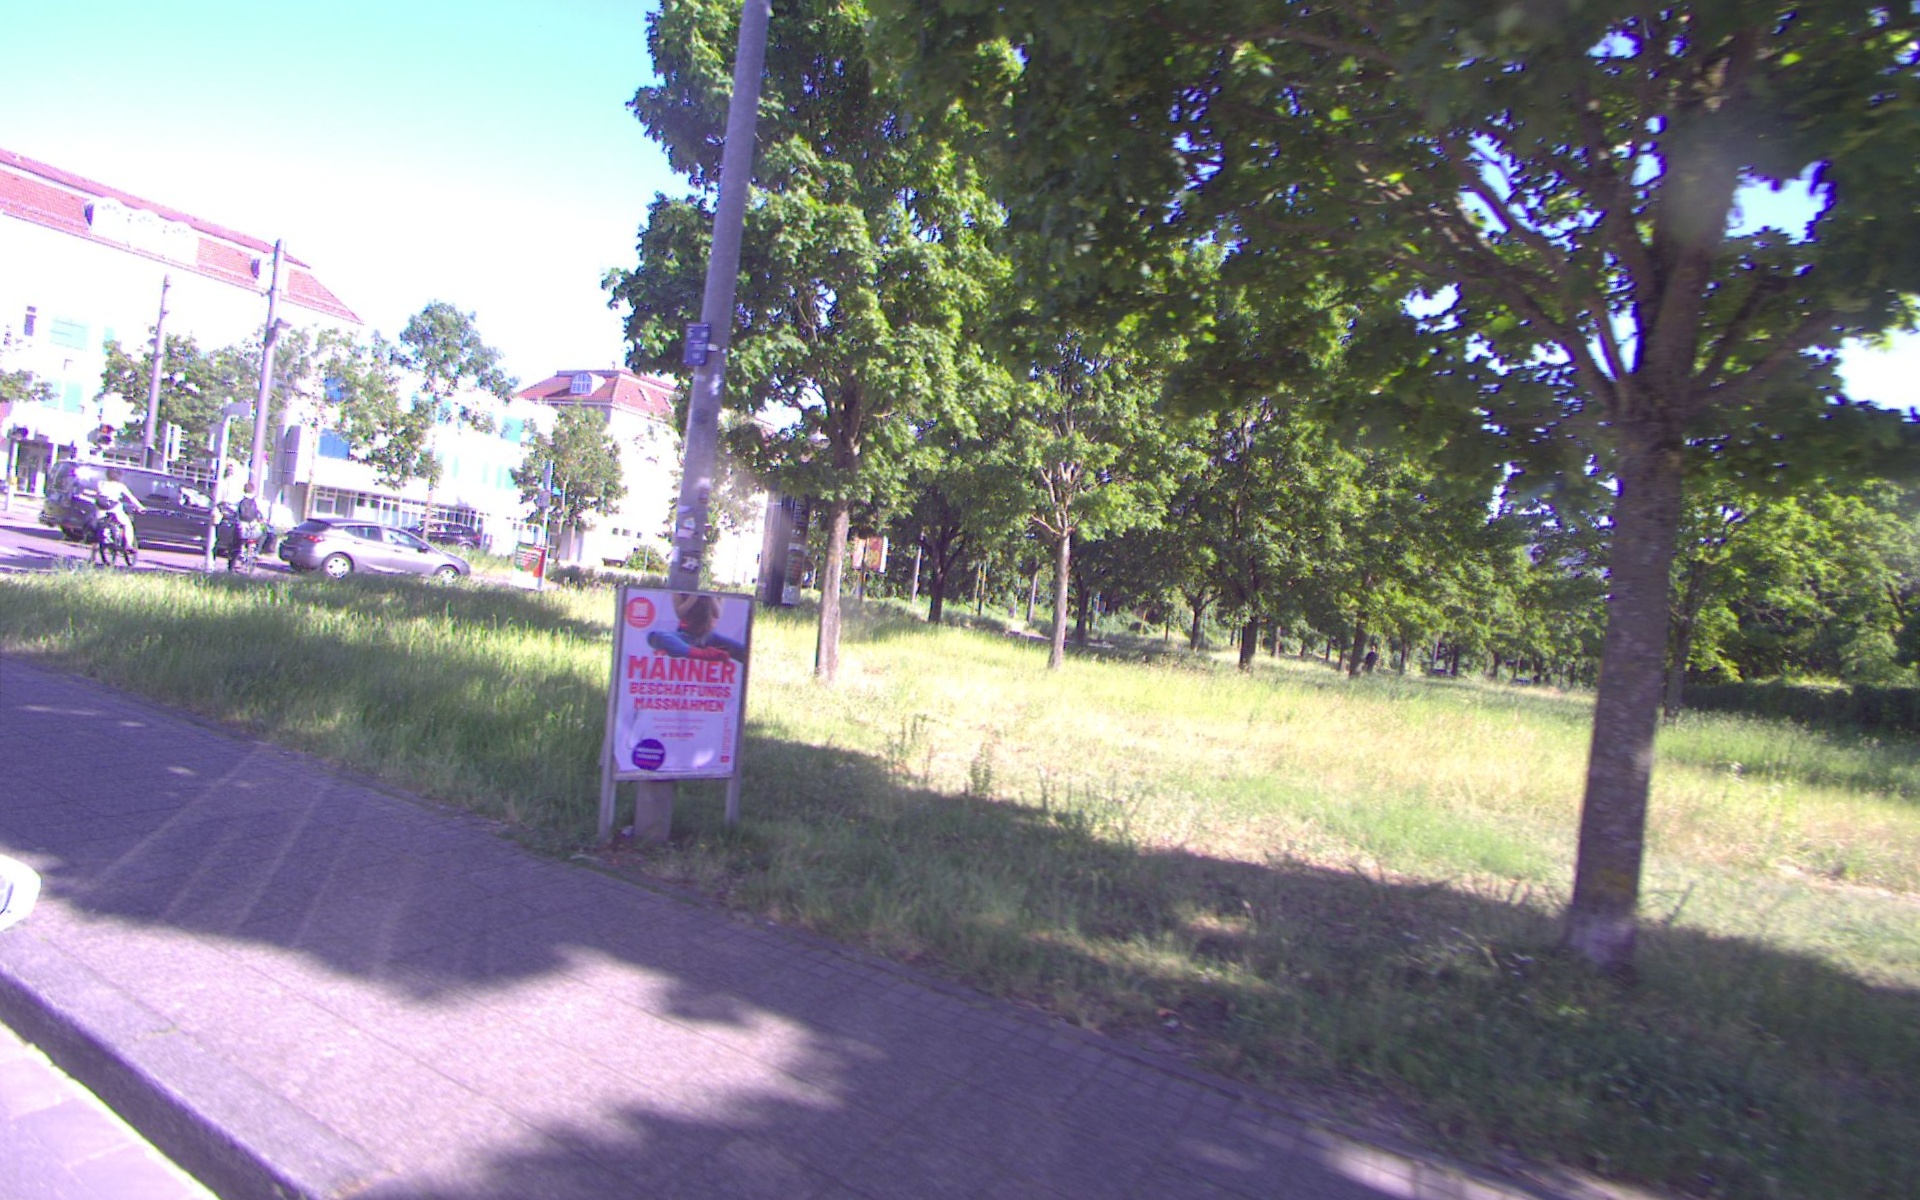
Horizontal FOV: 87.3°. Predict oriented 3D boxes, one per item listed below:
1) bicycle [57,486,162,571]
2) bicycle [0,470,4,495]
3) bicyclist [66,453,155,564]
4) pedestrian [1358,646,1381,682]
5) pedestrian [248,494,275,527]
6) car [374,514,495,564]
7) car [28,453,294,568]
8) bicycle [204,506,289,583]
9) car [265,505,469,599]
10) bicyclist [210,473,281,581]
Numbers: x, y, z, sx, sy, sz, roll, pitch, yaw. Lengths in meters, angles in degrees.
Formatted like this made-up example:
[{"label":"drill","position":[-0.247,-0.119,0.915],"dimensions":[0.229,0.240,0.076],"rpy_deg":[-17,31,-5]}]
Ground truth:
[{"label":"bicycle","position":[-15.585,-1.291,18.500],"dimensions":[0.782,1.365,2.067],"rpy_deg":[7,1,-22]},{"label":"bicycle","position":[-46.562,-5.723,47.511],"dimensions":[0.552,1.197,1.868],"rpy_deg":[8,1,25]},{"label":"bicyclist","position":[-15.470,-1.643,18.351],"dimensions":[0.782,1.847,1.129],"rpy_deg":[6,1,-23]},{"label":"pedestrian","position":[20.696,3.245,50.863],"dimensions":[0.727,1.748,0.887],"rpy_deg":[8,1,33]},{"label":"pedestrian","position":[-41.142,-5.269,59.289],"dimensions":[0.643,1.745,0.991],"rpy_deg":[8,1,28]},{"label":"car","position":[-24.455,-2.833,46.963],"dimensions":[1.970,1.629,4.498],"rpy_deg":[8,0,38]},{"label":"car","position":[-18.839,-2.049,23.973],"dimensions":[1.734,1.820,4.495],"rpy_deg":[7,-3,30]},{"label":"bicycle","position":[-14.189,-1.099,20.073],"dimensions":[0.782,1.365,2.250],"rpy_deg":[7,1,-22]},{"label":"car","position":[-14.449,-1.122,24.729],"dimensions":[1.665,1.595,3.868],"rpy_deg":[7,-3,31]},{"label":"bicyclist","position":[-14.081,-1.419,19.853],"dimensions":[0.782,1.984,1.005],"rpy_deg":[6,1,-23]}]
